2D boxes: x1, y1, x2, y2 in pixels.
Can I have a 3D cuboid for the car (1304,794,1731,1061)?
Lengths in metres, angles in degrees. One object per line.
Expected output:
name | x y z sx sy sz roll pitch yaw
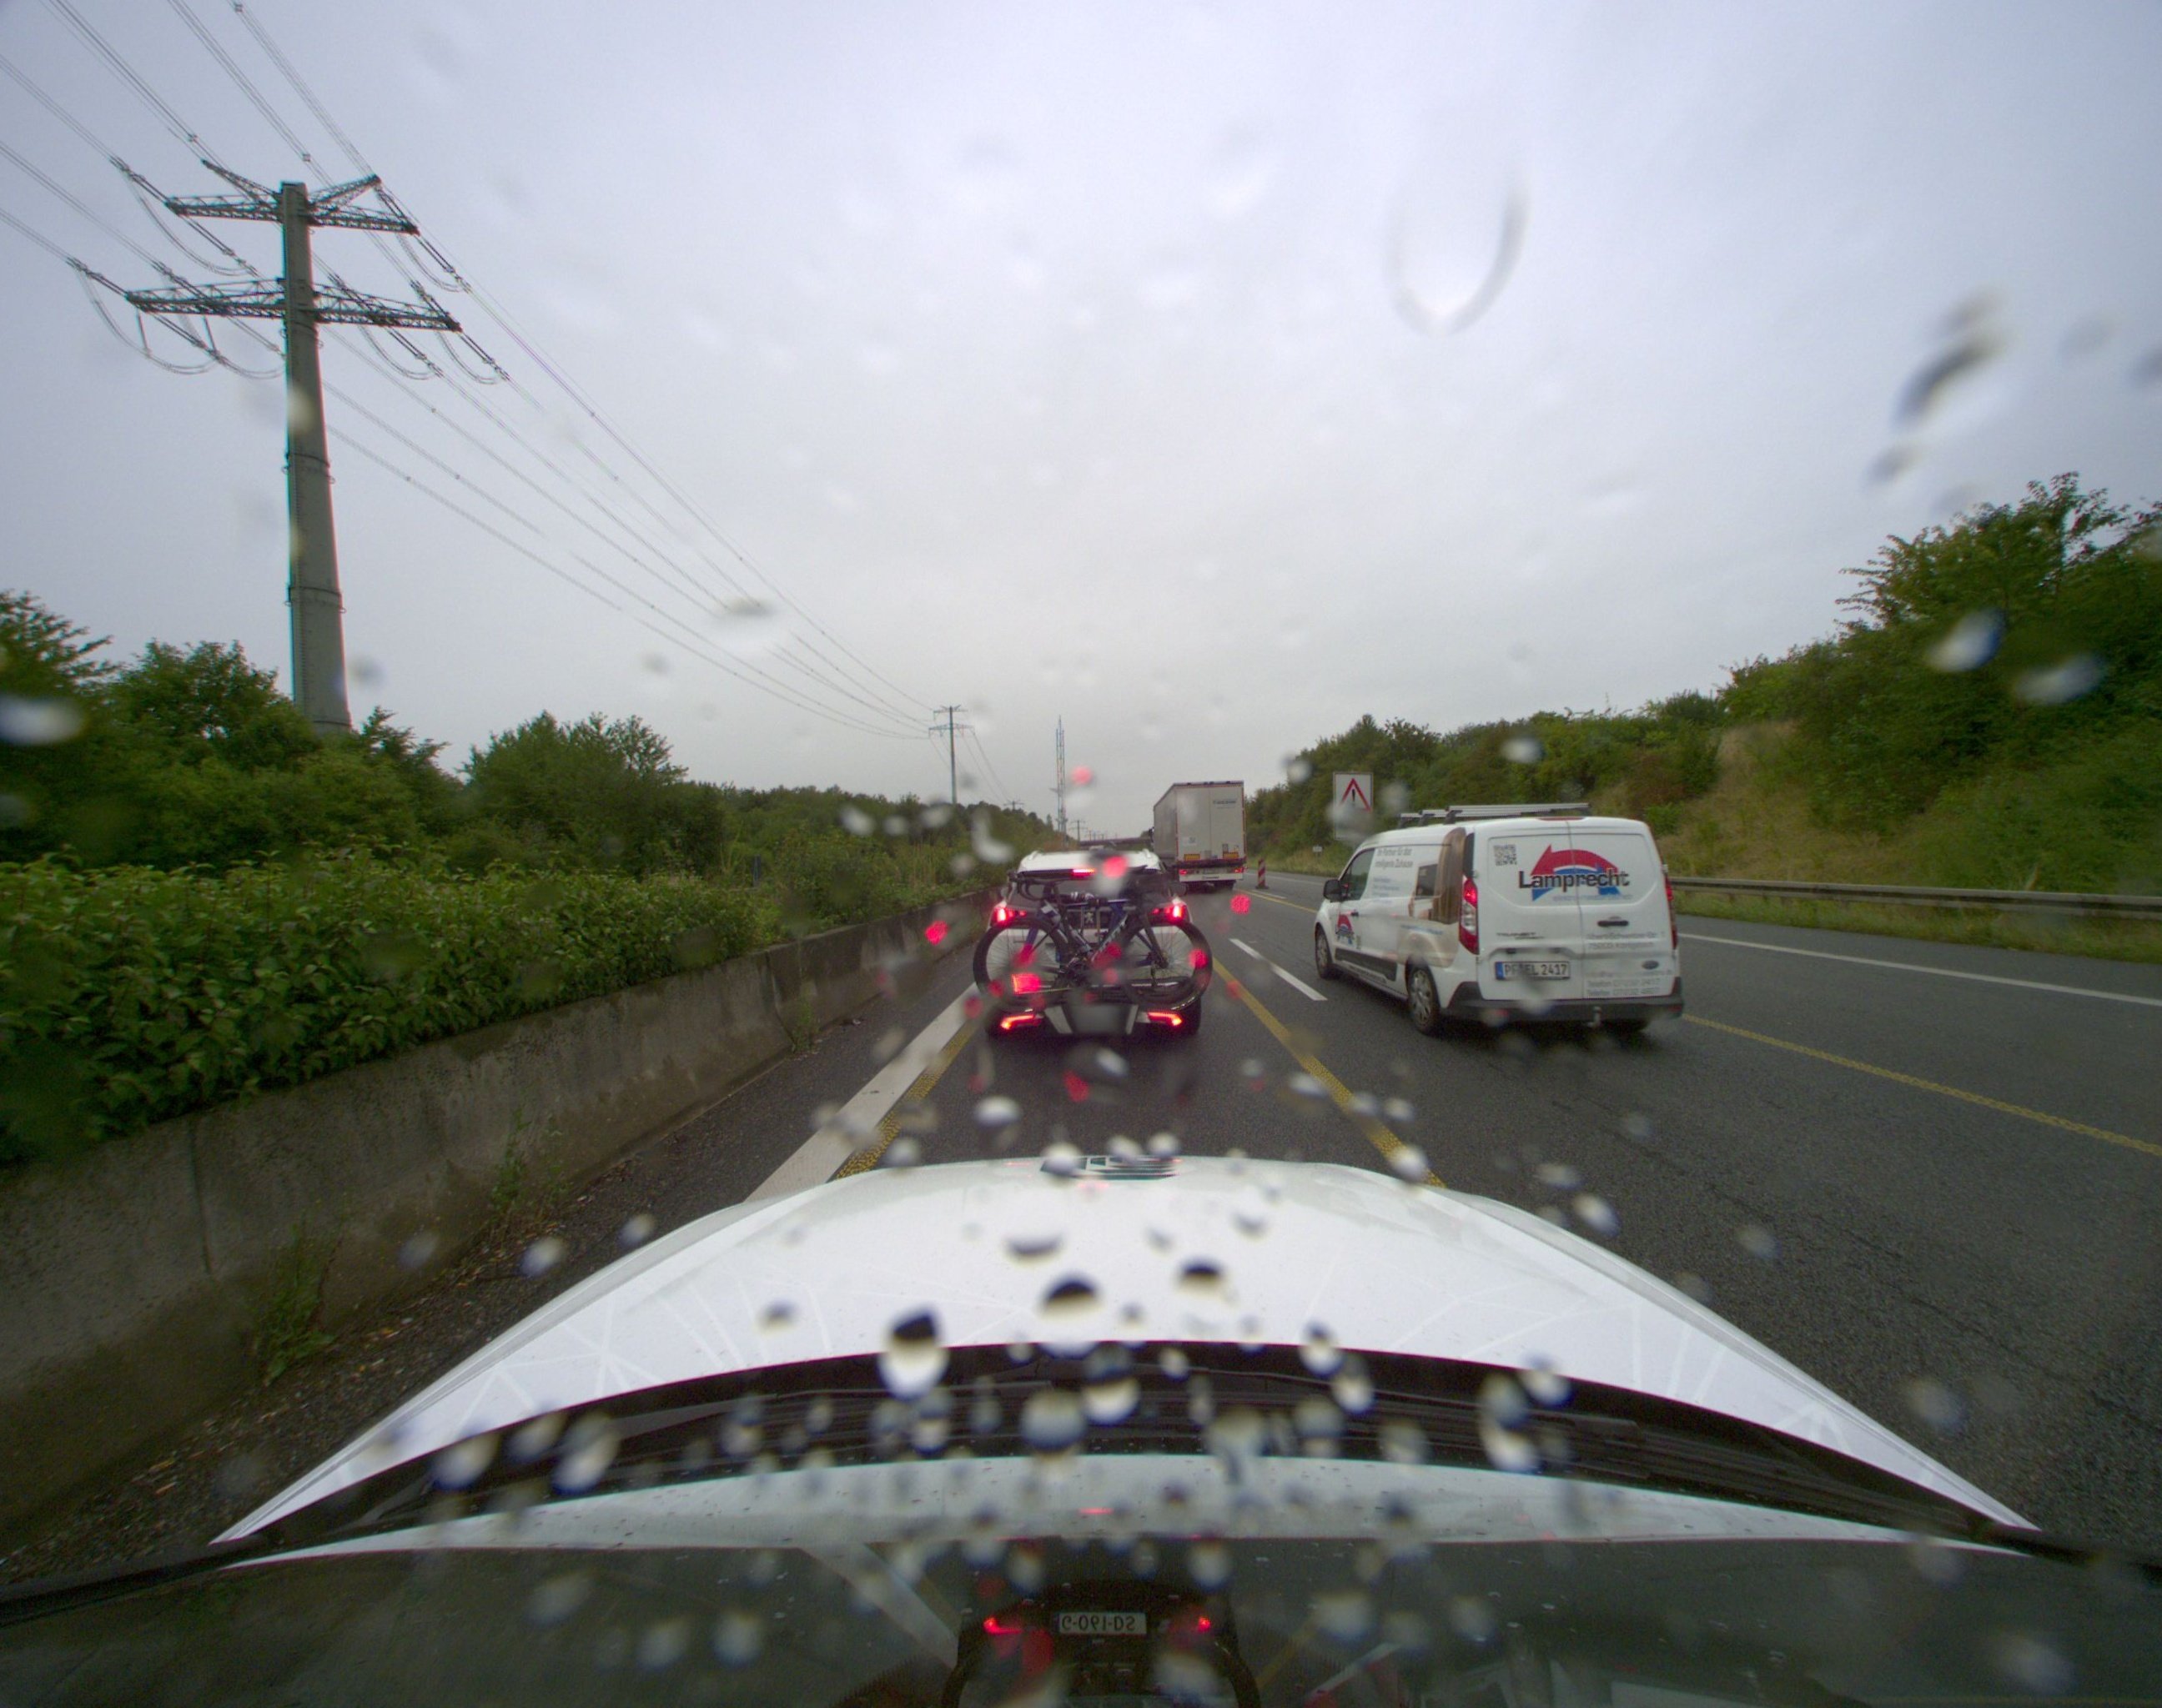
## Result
car | 3.691 0.512 8.033 1.822 1.839 4.657 -1 0 2

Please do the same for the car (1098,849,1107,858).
car | 4.832 -0.182 183.292 1.924 1.910 4.002 -1 1 2

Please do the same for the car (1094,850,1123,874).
car | 1.894 0.529 55.843 1.843 1.531 4.002 -1 0 2

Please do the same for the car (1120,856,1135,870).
car | 7.231 1.368 127.177 2.140 1.973 4.002 -1 1 2

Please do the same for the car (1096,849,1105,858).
car | 4.580 -0.121 190.466 1.924 1.973 4.002 -1 1 2

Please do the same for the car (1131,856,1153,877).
car | 6.196 1.261 83.226 2.102 1.973 4.002 -1 1 2

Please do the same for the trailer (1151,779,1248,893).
trailer | 4.825 -0.654 36.087 2.682 4.076 13.639 -1 0 2

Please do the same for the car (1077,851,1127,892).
car | 0.865 0.649 33.012 1.843 1.531 4.002 -1 0 2

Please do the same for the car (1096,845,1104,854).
car | 4.628 -1.029 196.065 1.924 1.973 4.002 -1 1 2

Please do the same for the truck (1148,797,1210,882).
truck | 5.053 -0.707 43.068 2.650 4.076 6.542 -1 0 2

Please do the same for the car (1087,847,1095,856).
car | 2.849 -0.738 229.788 2.249 2.424 4.002 -1 1 2

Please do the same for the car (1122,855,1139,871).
car | 6.814 1.232 112.191 2.140 1.973 4.002 -1 1 2

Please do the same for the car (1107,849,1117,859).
car | 6.114 -0.012 162.906 1.924 1.973 4.002 -1 1 2

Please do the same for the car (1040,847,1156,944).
car | 0.343 0.668 15.121 1.843 1.531 4.002 -1 0 2

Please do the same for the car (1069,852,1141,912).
car | 0.688 0.730 23.275 1.843 1.531 4.002 -1 0 2

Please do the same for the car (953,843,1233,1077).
car | 0.156 0.708 7.830 1.843 1.531 4.770 -1 0 2

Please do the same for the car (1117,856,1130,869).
car | 7.385 1.479 140.943 2.140 1.973 4.002 -1 1 2
